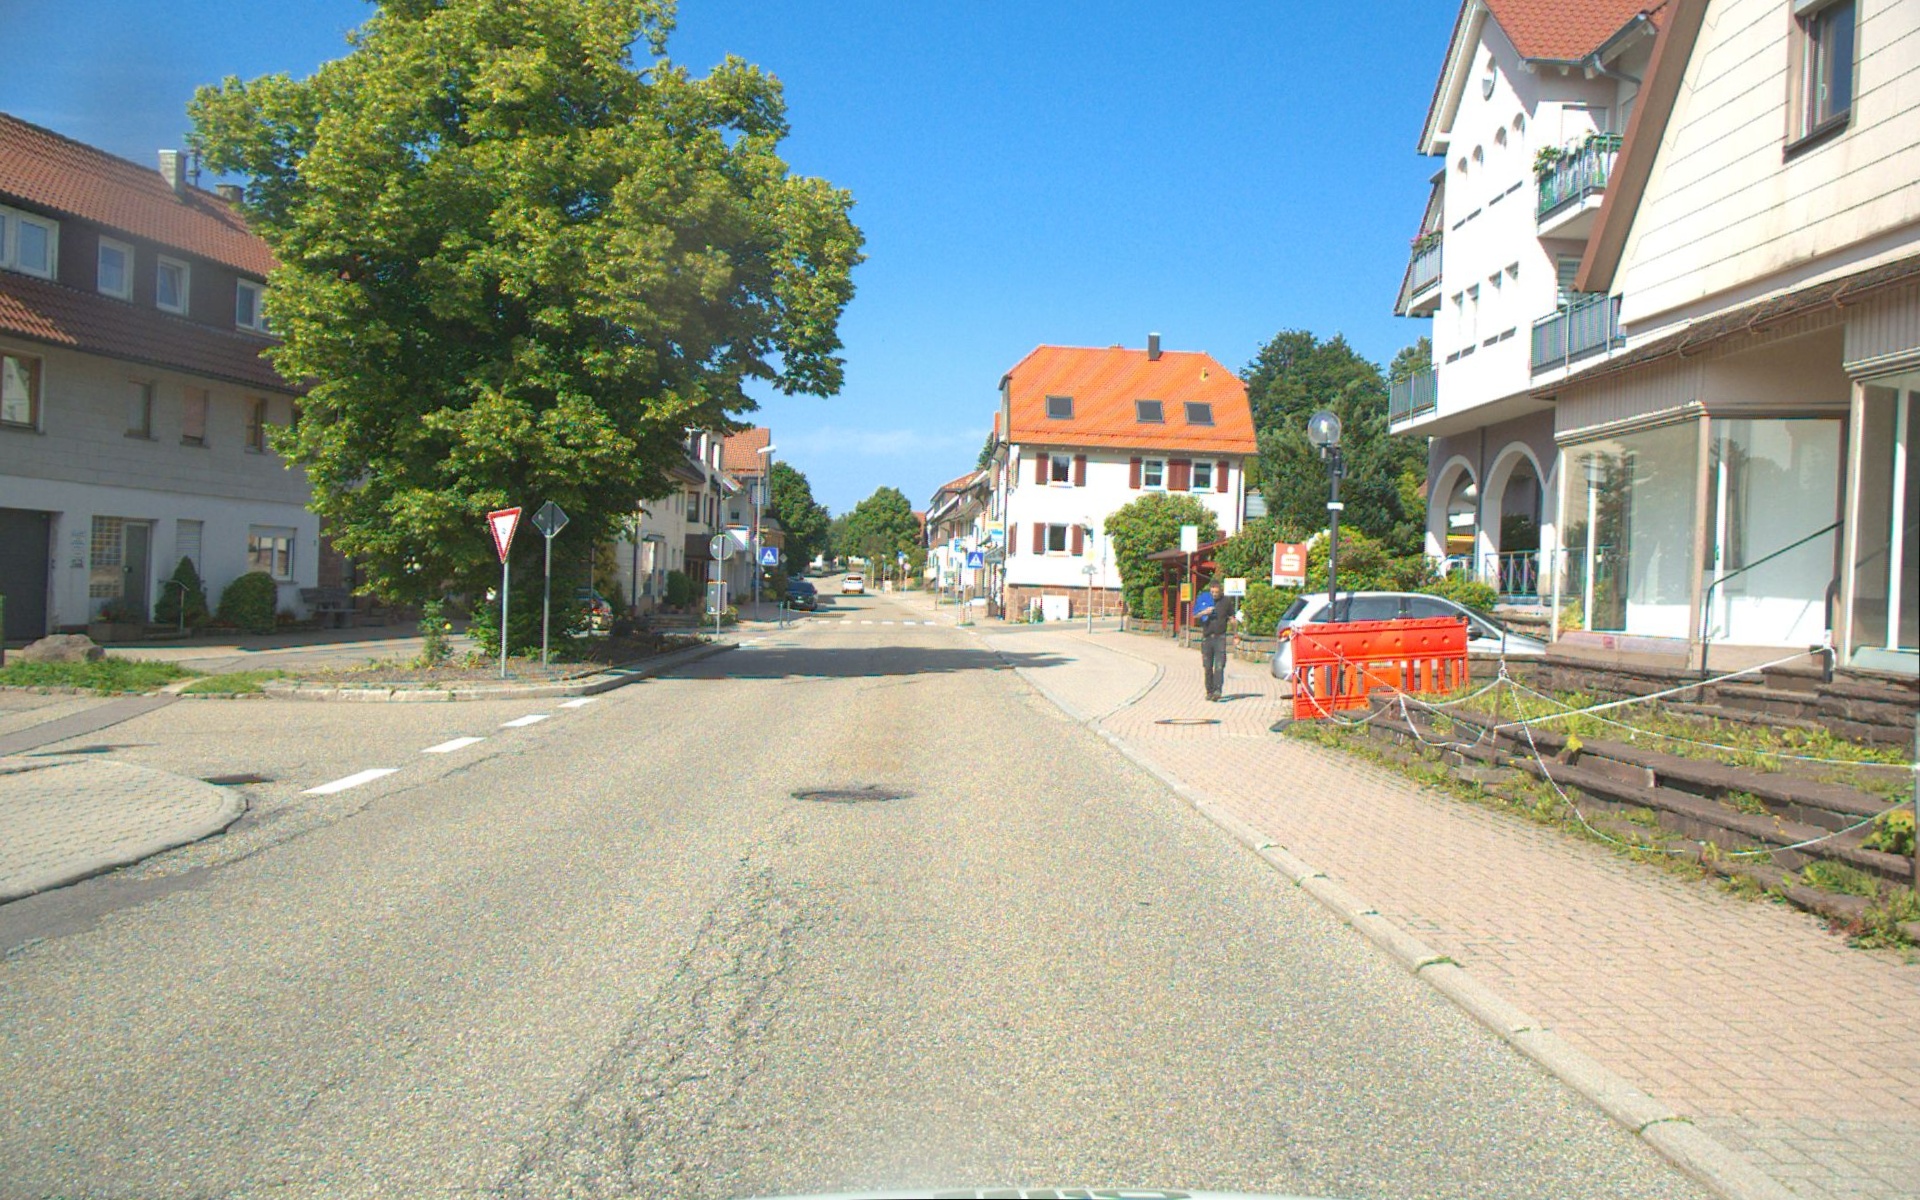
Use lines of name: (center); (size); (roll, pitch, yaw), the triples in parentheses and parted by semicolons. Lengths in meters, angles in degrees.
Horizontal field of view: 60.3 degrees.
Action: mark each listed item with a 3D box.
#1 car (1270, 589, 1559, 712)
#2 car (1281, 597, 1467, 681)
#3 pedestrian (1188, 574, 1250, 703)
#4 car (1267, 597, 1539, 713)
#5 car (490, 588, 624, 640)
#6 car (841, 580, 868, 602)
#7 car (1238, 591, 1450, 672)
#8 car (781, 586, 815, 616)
car: (6.347, 0.671, 23.519); (3.779, 1.585, 1.965); (1, 1, 11)
car: (7.687, 0.705, 30.945); (3.165, 1.494, 1.629); (0, 0, 5)
pedestrian: (3.732, 0.542, 23.918); (0.783, 1.815, 0.980); (0, 0, 3)
car: (6.891, 0.828, 26.072); (3.902, 1.576, 1.739); (3, 1, 8)
car: (-12.759, 0.466, 52.469); (3.679, 1.480, 1.819); (-1, -5, 10)
car: (-10.208, -0.835, 160.118); (2.447, 2.049, 4.300); (-1, 0, -5)
car: (7.806, 0.626, 33.879); (3.905, 1.575, 1.881); (0, 0, 0)
car: (-9.609, 0.056, 98.177); (1.639, 1.559, 3.534); (5, 0, -2)
